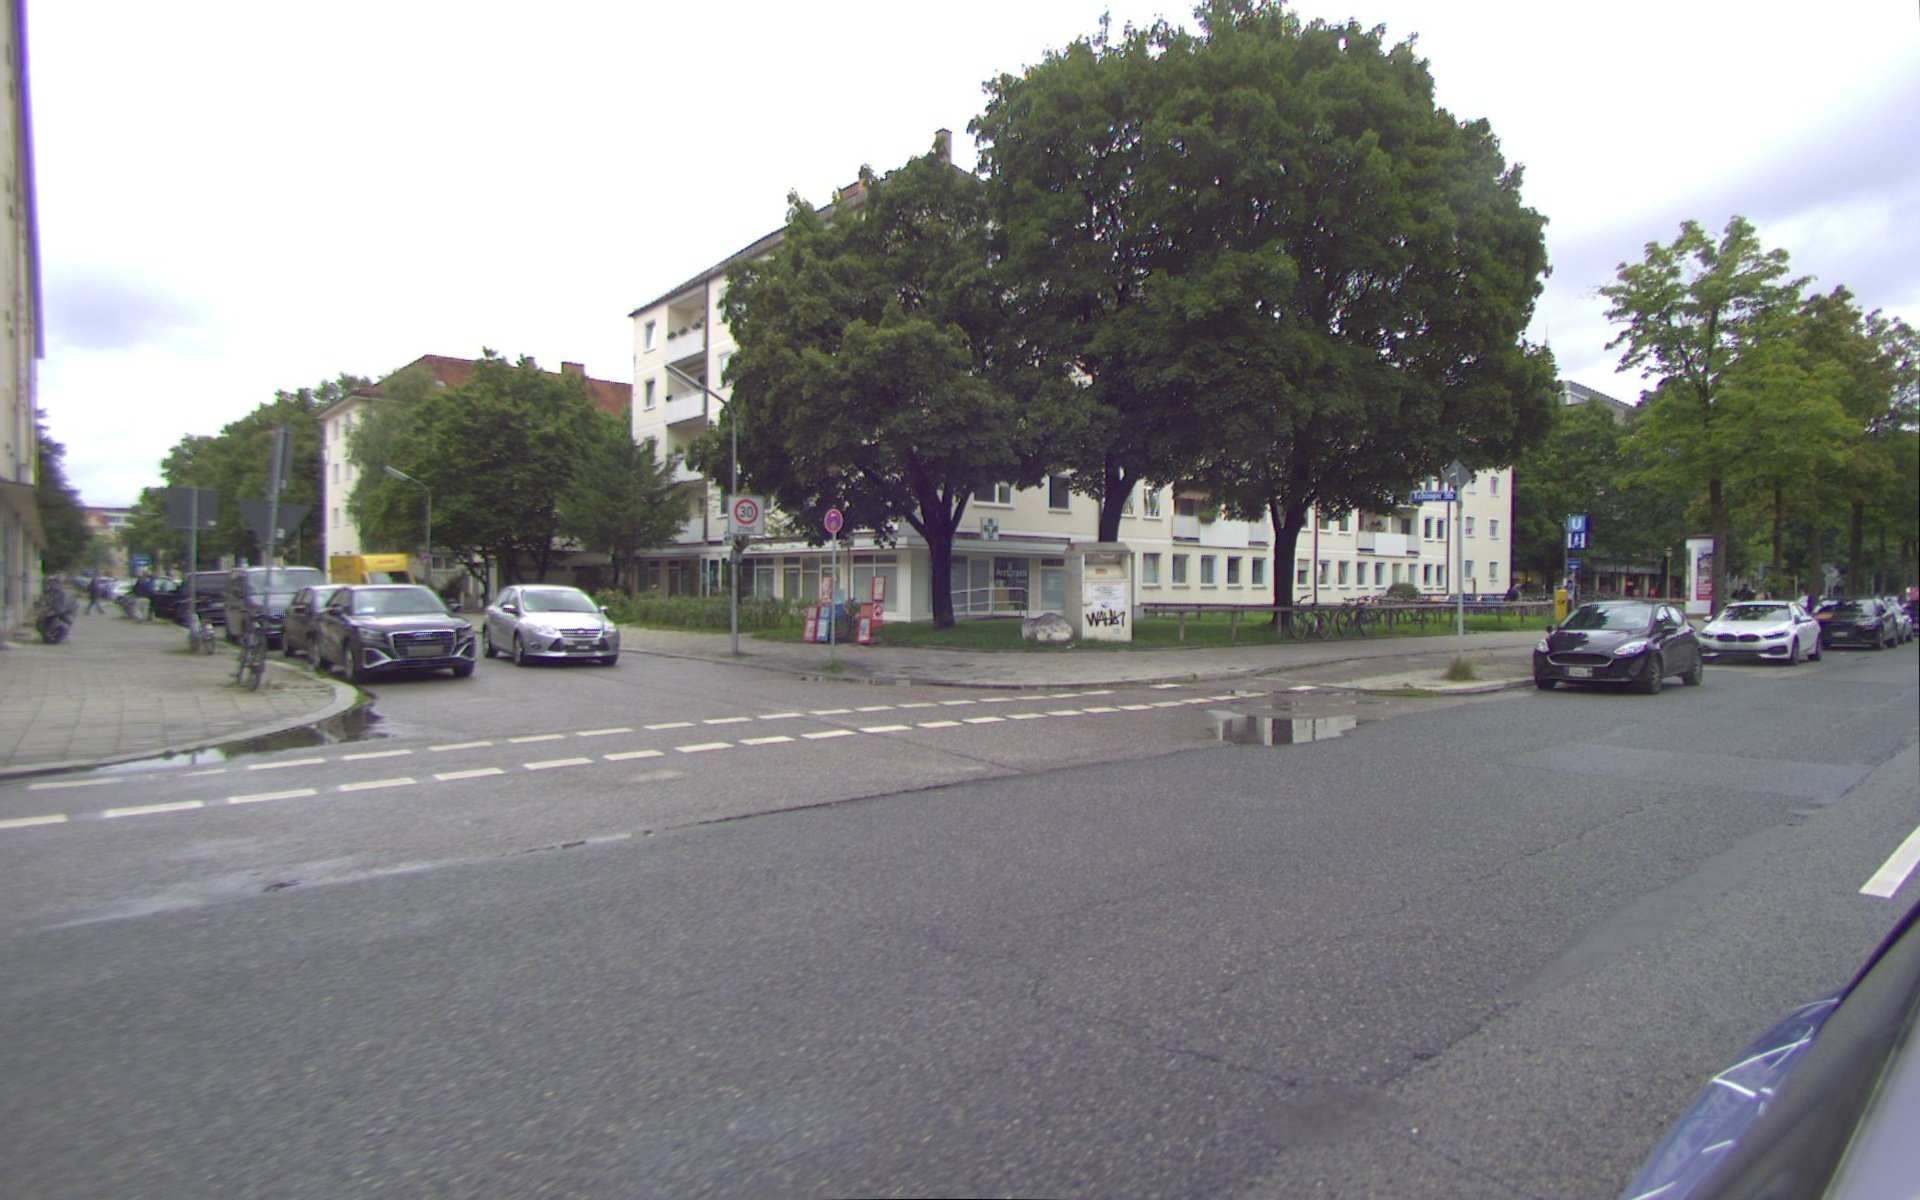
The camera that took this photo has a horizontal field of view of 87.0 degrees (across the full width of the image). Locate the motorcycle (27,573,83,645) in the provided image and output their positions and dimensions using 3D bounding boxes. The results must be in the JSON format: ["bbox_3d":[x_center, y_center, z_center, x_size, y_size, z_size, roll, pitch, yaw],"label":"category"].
[{"bbox_3d":[-19.907,0.162,22.300,0.875,1.460,3.257,0,1,-41],"label":"motorcycle"}]

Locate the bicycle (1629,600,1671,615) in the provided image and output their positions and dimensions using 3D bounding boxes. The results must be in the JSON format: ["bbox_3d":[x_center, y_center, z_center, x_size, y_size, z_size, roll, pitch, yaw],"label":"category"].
[{"bbox_3d":[32.677,0.340,47.934,0.490,0.704,1.596,-1,0,-44],"label":"bicycle"}]

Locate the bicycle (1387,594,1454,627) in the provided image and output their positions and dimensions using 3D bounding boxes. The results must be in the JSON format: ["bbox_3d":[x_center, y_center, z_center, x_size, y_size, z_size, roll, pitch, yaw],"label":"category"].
[{"bbox_3d":[15.734,0.348,34.614,0.652,1.081,2.028,0,1,-44],"label":"bicycle"}]

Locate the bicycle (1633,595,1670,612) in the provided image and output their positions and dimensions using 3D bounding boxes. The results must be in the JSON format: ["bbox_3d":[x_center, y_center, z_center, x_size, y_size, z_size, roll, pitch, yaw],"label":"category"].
[{"bbox_3d":[33.116,0.156,48.483,0.490,0.722,1.390,0,3,-44],"label":"bicycle"}]

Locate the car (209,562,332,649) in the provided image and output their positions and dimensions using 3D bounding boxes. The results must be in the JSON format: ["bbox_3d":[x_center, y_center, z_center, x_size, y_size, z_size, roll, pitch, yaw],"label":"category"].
[{"bbox_3d":[-16.913,0.081,24.715,1.965,1.909,4.992,0,1,-41],"label":"car"}]

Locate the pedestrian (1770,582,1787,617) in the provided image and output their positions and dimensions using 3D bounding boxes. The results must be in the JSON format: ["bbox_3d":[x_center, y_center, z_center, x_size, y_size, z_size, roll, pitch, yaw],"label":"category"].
[{"bbox_3d":[38.142,-0.046,47.166,0.555,1.625,0.515,0,0,31],"label":"pedestrian"}]

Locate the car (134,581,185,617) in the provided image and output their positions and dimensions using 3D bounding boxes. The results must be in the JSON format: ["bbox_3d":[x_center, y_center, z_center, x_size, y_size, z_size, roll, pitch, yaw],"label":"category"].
[{"bbox_3d":[-43.151,-0.089,54.481,1.965,1.808,4.992,0,1,-41],"label":"car"}]

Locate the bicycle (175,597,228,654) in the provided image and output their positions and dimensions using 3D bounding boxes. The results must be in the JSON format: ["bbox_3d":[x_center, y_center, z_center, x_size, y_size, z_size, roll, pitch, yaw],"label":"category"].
[{"bbox_3d":[-15.422,0.489,20.558,1.874,1.098,0.545,1,1,43],"label":"bicycle"}]

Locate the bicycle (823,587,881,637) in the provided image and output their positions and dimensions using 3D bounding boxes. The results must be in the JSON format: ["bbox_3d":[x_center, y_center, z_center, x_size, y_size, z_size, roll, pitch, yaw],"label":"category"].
[{"bbox_3d":[-2.653,0.277,24.774,0.687,1.170,1.471,0,1,-41],"label":"bicycle"}]

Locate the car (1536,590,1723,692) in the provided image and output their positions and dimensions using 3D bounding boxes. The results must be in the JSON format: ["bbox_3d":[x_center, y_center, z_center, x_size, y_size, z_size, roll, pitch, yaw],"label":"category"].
[{"bbox_3d":[11.235,0.609,16.891,3.887,1.496,1.646,0,0,-41],"label":"car"}]

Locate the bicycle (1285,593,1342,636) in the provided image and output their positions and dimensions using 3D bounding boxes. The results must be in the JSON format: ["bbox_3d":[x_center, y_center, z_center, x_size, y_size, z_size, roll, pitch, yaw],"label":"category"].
[{"bbox_3d":[8.745,0.340,24.980,1.820,1.028,0.448,0,0,-39],"label":"bicycle"}]

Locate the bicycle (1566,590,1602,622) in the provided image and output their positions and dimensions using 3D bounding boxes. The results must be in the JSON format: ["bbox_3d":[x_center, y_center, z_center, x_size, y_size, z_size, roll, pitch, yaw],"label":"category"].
[{"bbox_3d":[23.927,0.223,38.808,2.039,1.203,0.545,0,0,-39],"label":"bicycle"}]

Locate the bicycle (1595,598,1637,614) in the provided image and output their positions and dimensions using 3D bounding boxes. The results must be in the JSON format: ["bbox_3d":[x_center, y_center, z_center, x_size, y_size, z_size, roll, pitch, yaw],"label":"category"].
[{"bbox_3d":[31.328,0.277,48.329,0.490,0.645,1.597,0,3,-44],"label":"bicycle"}]

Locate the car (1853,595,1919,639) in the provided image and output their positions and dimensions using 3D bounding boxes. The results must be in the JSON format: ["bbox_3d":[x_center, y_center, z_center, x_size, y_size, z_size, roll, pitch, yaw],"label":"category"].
[{"bbox_3d":[31.460,0.535,34.087,3.859,1.397,1.615,0,0,-41],"label":"car"}]

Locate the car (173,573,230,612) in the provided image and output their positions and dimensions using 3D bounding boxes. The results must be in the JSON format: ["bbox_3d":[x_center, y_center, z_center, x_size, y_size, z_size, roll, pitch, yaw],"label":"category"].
[{"bbox_3d":[-30.018,-0.318,40.010,1.572,1.460,3.762,0,1,-41],"label":"car"}]

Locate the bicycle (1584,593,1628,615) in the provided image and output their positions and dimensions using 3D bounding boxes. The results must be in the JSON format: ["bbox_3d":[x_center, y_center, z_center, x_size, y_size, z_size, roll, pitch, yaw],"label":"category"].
[{"bbox_3d":[29.278,0.157,45.876,0.490,0.927,1.596,0,2,-44],"label":"bicycle"}]

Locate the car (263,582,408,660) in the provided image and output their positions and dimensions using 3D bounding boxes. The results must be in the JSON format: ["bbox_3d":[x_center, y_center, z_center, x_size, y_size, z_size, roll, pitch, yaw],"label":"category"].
[{"bbox_3d":[-13.002,0.362,20.960,1.965,1.460,3.994,0,1,-41],"label":"car"}]

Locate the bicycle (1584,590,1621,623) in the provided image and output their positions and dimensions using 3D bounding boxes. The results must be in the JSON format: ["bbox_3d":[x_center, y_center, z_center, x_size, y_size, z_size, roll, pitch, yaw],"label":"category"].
[{"bbox_3d":[23.855,0.234,37.559,2.039,1.203,0.545,0,0,-39],"label":"bicycle"}]

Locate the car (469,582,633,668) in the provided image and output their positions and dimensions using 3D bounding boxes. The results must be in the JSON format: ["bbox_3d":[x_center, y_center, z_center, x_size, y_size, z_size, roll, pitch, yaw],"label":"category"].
[{"bbox_3d":[-7.925,0.392,19.400,1.963,1.460,4.221,0,1,-36],"label":"car"}]

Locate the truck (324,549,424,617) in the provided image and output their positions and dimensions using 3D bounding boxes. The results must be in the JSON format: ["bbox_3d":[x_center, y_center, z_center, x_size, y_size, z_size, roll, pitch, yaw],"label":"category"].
[{"bbox_3d":[-26.074,-0.769,44.903,2.239,2.805,6.750,-2,2,-44],"label":"truck"}]

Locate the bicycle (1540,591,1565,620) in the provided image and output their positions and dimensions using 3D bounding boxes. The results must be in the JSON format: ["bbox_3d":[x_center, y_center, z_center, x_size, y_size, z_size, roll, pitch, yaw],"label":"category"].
[{"bbox_3d":[23.415,0.215,39.976,1.231,1.130,0.466,0,0,-39],"label":"bicycle"}]

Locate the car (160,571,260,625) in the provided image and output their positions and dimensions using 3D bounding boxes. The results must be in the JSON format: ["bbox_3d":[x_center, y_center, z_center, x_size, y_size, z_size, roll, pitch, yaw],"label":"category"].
[{"bbox_3d":[-26.815,-0.112,36.116,4.984,1.808,2.121,1,1,44],"label":"car"}]

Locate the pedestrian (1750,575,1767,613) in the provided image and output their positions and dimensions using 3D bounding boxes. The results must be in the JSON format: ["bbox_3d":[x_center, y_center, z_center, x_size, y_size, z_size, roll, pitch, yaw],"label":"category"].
[{"bbox_3d":[37.581,-0.266,47.637,0.555,1.778,0.650,0,0,31],"label":"pedestrian"}]

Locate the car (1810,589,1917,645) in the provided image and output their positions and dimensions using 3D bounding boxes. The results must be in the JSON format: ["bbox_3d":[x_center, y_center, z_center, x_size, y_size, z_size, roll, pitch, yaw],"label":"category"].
[{"bbox_3d":[26.750,0.456,29.940,4.084,1.530,1.825,0,0,-40],"label":"car"}]

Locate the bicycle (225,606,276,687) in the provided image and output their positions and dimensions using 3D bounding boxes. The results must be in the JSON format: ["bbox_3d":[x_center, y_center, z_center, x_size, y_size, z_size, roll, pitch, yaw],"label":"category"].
[{"bbox_3d":[-9.809,0.613,13.980,0.543,1.023,1.544,0,1,-36],"label":"bicycle"}]

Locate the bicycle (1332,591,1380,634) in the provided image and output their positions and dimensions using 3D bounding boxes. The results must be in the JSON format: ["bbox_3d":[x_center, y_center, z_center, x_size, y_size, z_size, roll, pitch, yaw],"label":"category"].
[{"bbox_3d":[10.405,0.309,26.572,1.739,1.068,0.470,-1,3,-44],"label":"bicycle"}]

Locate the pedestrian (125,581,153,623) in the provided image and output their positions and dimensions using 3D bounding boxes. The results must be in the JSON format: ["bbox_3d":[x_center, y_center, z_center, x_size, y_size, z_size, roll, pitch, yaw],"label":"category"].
[{"bbox_3d":[-28.457,0.056,35.075,0.722,1.428,0.493,0,0,-45],"label":"pedestrian"}]

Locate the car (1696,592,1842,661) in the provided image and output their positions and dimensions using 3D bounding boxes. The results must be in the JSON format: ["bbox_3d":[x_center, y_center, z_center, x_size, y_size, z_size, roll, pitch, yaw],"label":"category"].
[{"bbox_3d":[18.926,0.572,23.623,4.211,1.455,1.825,0,-1,-40],"label":"car"}]

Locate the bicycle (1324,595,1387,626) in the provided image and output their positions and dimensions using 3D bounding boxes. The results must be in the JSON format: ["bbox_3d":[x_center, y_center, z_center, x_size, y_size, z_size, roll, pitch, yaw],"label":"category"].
[{"bbox_3d":[14.210,0.353,36.377,0.652,1.081,2.028,0,1,-44],"label":"bicycle"}]

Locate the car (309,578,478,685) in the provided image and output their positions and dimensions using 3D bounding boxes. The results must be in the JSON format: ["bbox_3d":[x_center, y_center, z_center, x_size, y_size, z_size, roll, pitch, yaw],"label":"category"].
[{"bbox_3d":[-9.410,0.421,16.665,1.700,1.538,3.932,0,1,-41],"label":"car"}]

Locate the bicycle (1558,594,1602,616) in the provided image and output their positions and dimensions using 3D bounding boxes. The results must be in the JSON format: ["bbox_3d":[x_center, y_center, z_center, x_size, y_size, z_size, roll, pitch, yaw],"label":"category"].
[{"bbox_3d":[27.177,0.216,44.363,0.490,0.927,1.596,0,1,-44],"label":"bicycle"}]

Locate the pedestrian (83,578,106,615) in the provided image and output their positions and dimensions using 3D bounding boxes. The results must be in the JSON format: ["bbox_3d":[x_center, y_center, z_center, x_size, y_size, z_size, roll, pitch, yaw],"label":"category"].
[{"bbox_3d":[-36.022,-0.165,42.118,0.710,1.533,0.424,0,0,-42],"label":"pedestrian"}]

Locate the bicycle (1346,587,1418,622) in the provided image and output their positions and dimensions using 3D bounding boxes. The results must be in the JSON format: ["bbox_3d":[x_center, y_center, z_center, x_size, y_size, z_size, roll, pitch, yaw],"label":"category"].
[{"bbox_3d":[13.532,0.122,32.499,0.652,1.081,2.028,0,1,-44],"label":"bicycle"}]
